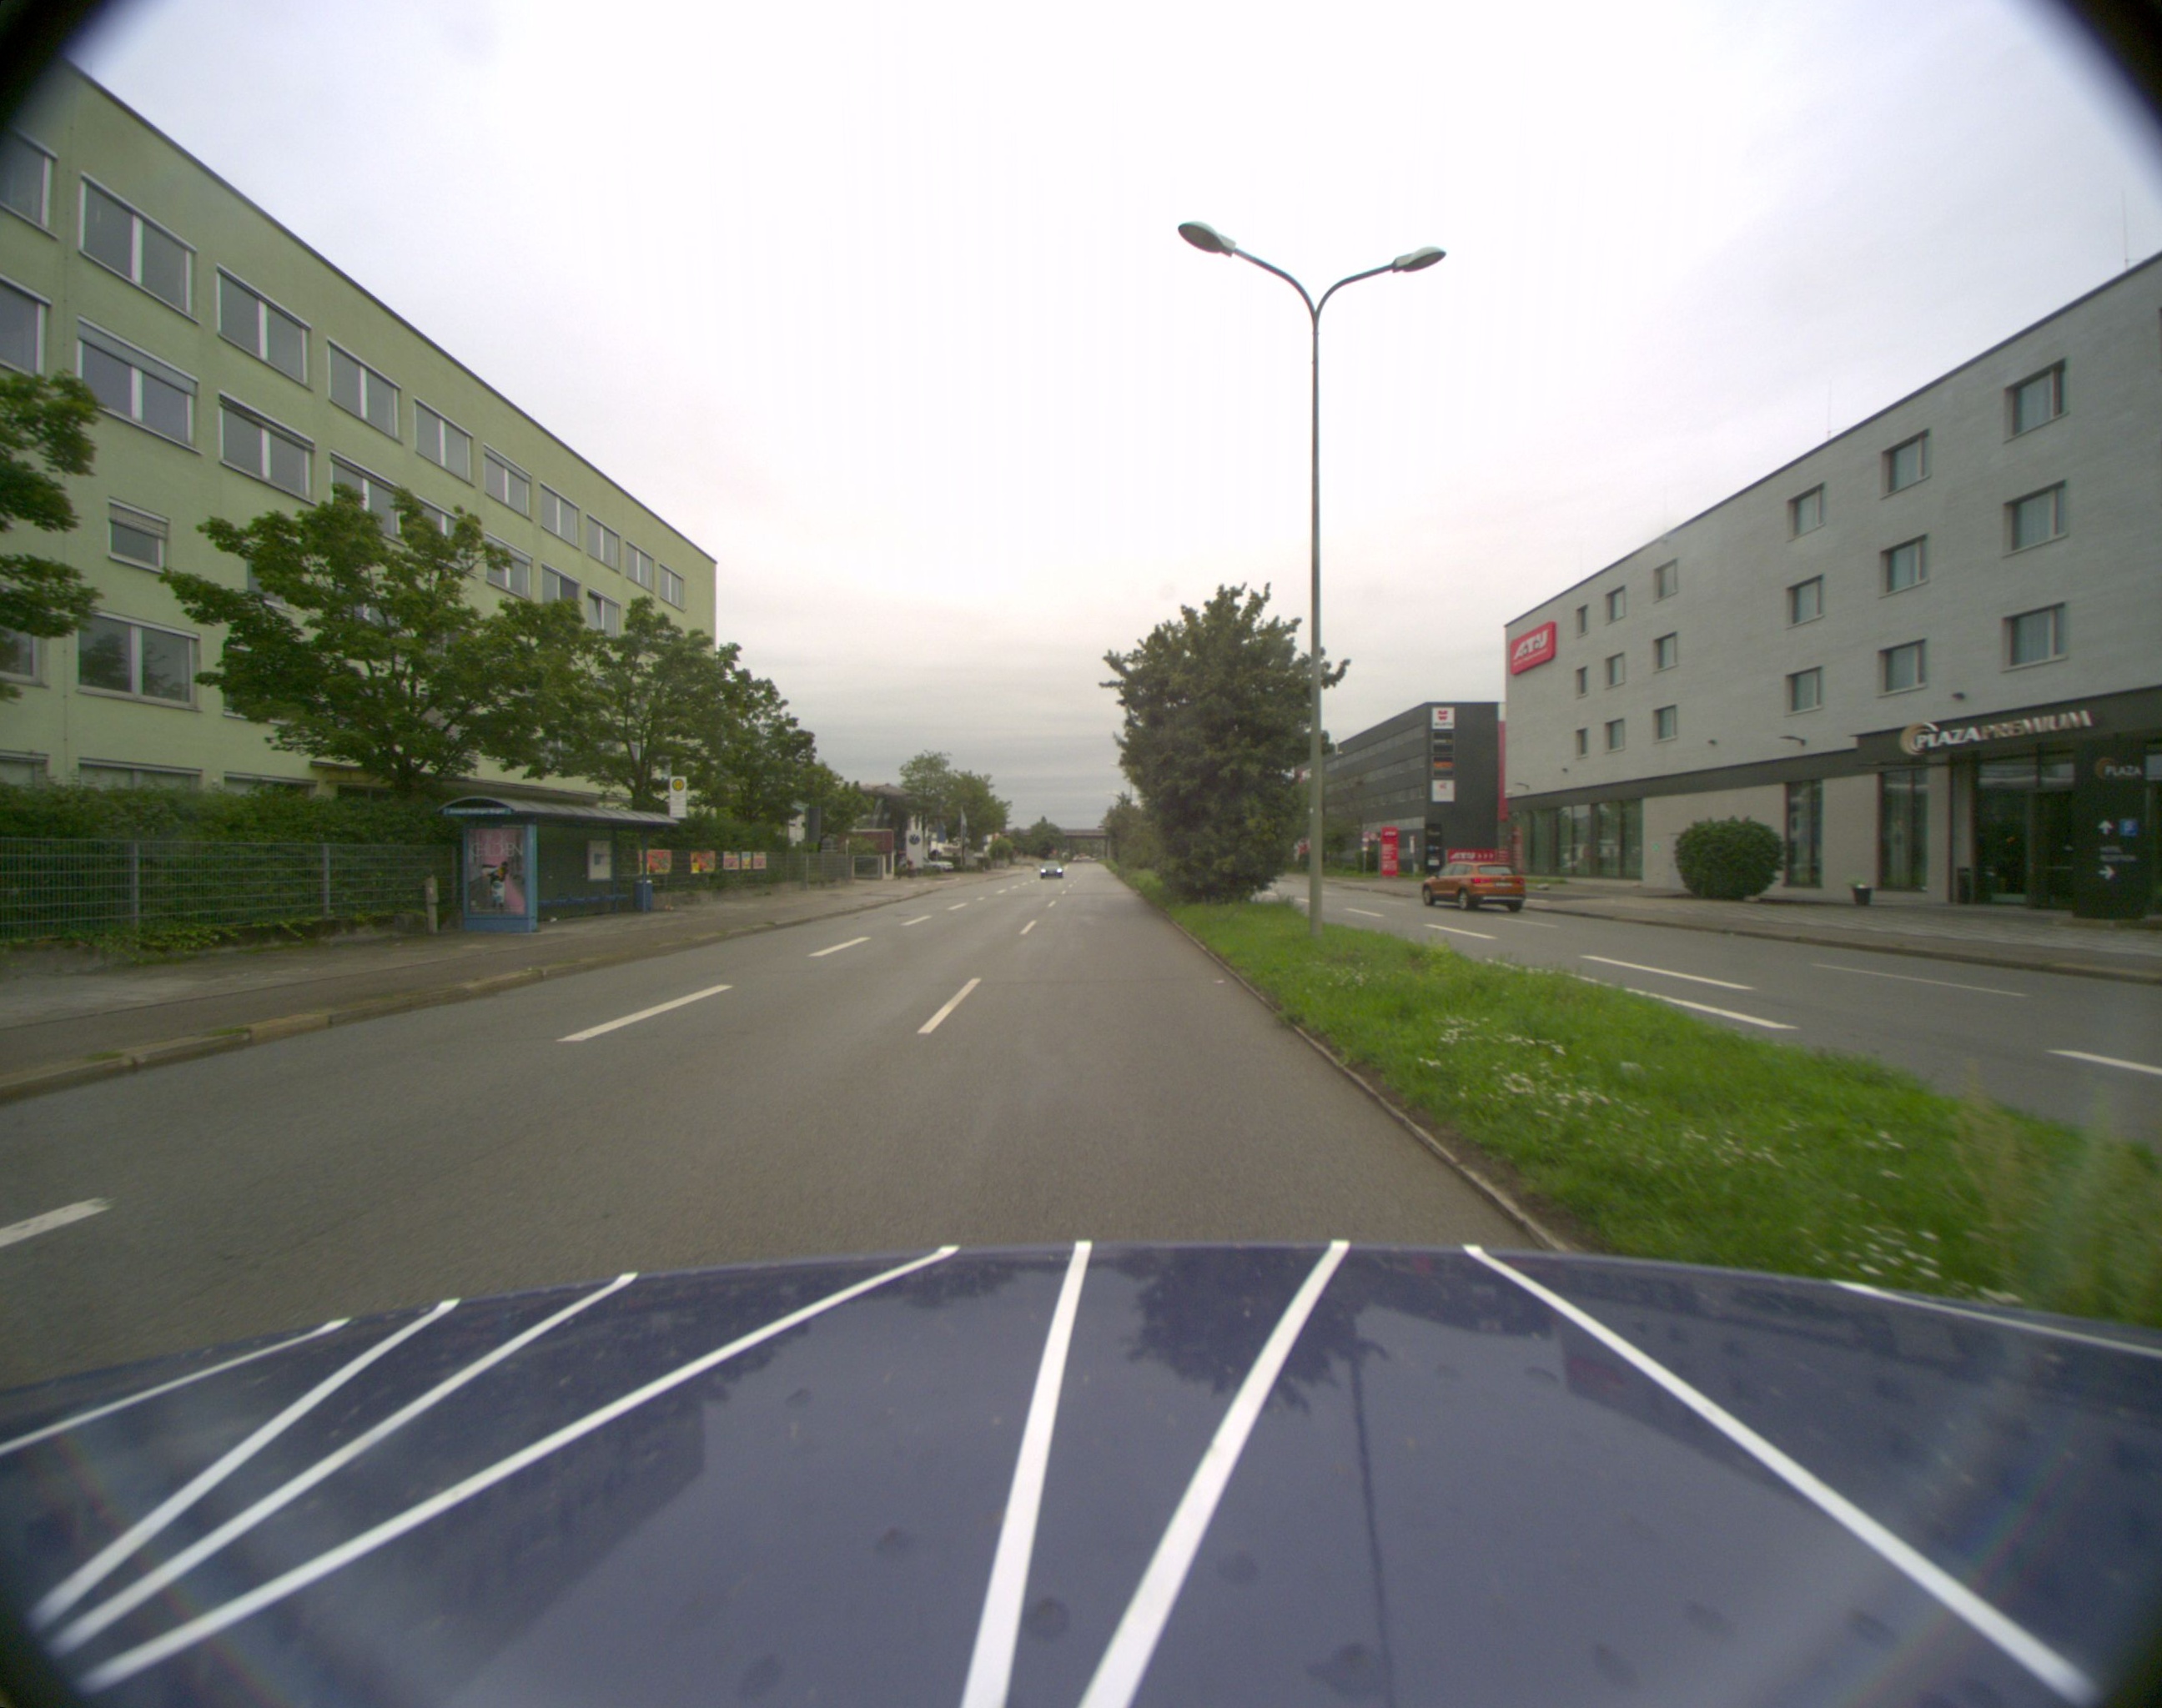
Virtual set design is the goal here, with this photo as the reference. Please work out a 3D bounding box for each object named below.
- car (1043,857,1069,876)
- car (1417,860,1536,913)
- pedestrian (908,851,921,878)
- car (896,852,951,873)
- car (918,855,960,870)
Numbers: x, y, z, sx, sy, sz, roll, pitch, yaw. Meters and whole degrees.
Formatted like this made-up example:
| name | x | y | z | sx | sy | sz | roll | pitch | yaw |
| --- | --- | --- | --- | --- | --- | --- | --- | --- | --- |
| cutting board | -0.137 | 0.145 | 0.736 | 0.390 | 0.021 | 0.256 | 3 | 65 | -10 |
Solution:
| name | x | y | z | sx | sy | sz | roll | pitch | yaw |
| --- | --- | --- | --- | --- | --- | --- | --- | --- | --- |
| car | -2.067 | 1.051 | 64.372 | 1.916 | 1.498 | 4.439 | -1 | 0 | 2 |
| car | 13.000 | 1.020 | 25.303 | 1.740 | 1.539 | 4.304 | 1 | 0 | 1 |
| pedestrian | -11.371 | 0.729 | 51.863 | 0.683 | 1.810 | 0.688 | -1 | 1 | 0 |
| car | -14.626 | 0.789 | 70.592 | 4.651 | 1.832 | 1.798 | -1 | 0 | -21 |
| car | -14.833 | 0.872 | 79.342 | 3.991 | 1.500 | 1.804 | -1 | 0 | 22 |
